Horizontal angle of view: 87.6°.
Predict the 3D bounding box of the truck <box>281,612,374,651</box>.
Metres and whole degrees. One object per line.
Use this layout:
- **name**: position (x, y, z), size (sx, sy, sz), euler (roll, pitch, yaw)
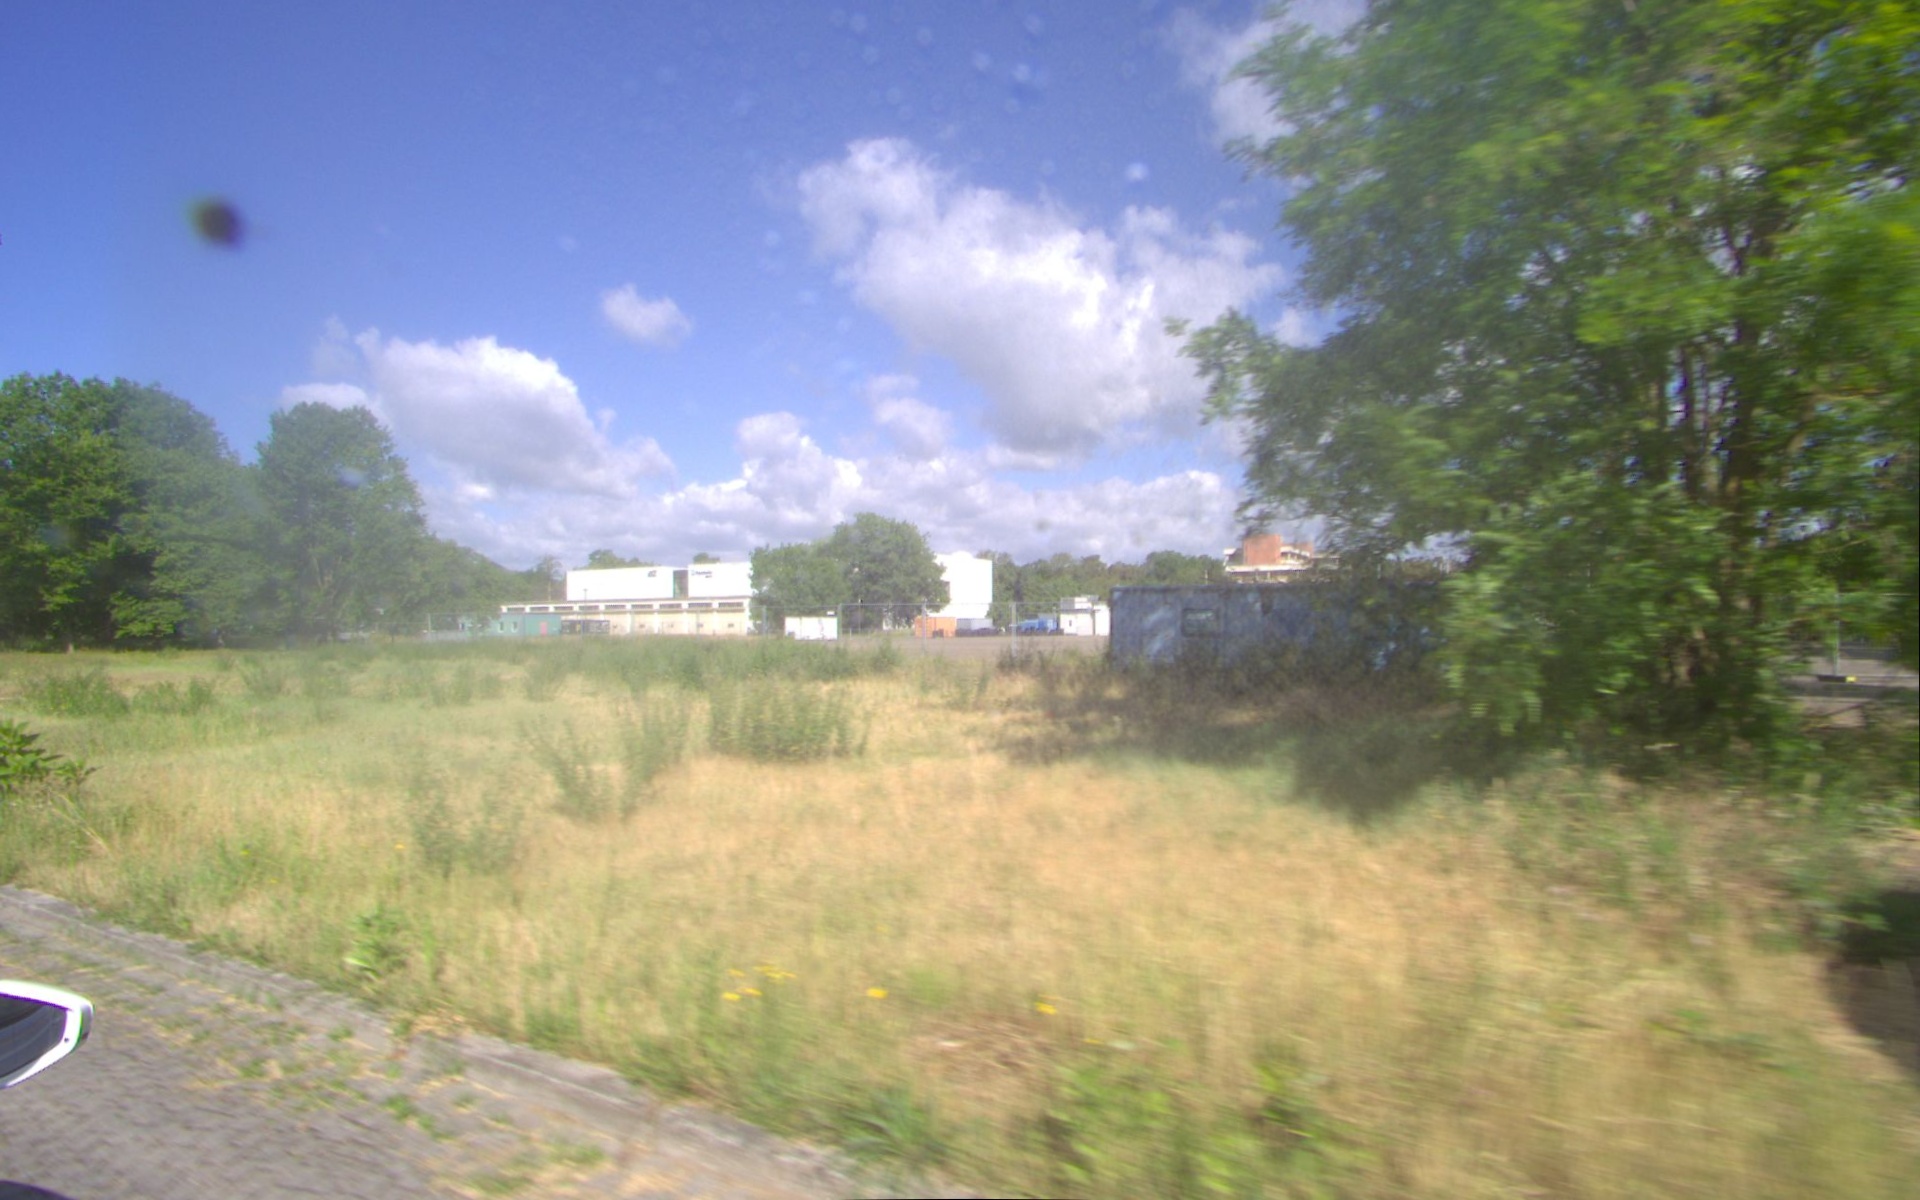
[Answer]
- **truck**: position (-41.788, 2.131, 66.117), size (6.782, 2.454, 2.232), euler (-1, -3, 29)
